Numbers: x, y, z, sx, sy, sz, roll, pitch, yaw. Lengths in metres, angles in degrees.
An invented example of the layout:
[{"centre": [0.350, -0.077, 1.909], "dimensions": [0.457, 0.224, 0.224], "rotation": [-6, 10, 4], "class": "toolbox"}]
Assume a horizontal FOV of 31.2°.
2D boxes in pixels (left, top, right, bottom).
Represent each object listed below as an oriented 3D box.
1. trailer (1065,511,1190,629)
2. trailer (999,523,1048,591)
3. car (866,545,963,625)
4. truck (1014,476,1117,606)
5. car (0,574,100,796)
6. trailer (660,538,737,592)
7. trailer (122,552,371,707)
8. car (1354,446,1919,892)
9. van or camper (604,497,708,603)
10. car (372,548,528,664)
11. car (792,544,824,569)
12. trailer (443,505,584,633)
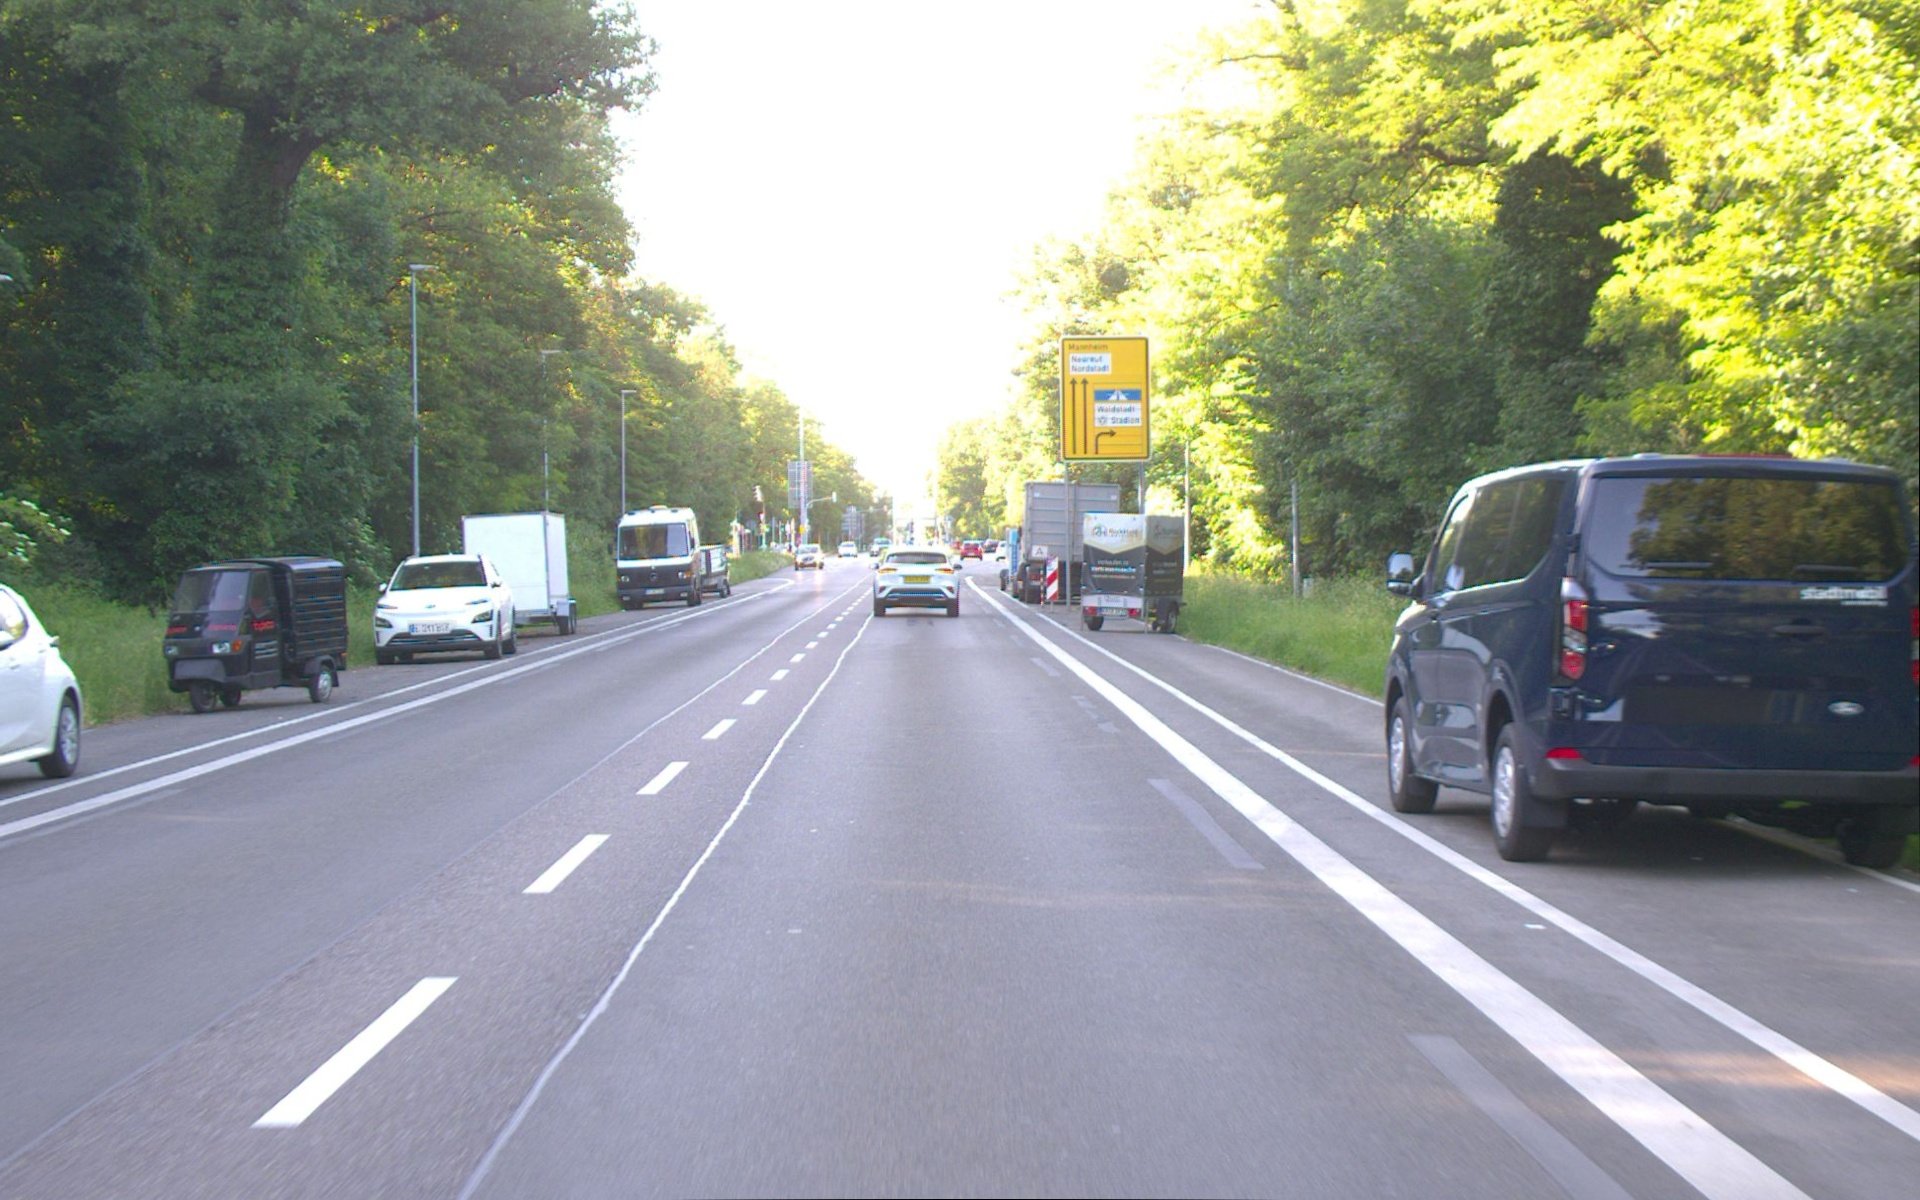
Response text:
[{"centre": [3.064, -0.558, 62.627], "dimensions": [1.616, 2.105, 2.394], "rotation": [1, 1, 20], "class": "trailer"}, {"centre": [2.126, -1.458, 115.919], "dimensions": [1.500, 2.228, 4.550], "rotation": [1, 1, 0], "class": "trailer"}, {"centre": [-0.973, -0.349, 73.643], "dimensions": [1.993, 1.634, 4.000], "rotation": [-1, 1, -1], "class": "car"}, {"centre": [2.776, -1.565, 92.450], "dimensions": [2.505, 3.355, 7.107], "rotation": [1, 1, 0], "class": "truck"}, {"centre": [-7.333, 0.617, 23.455], "dimensions": [1.867, 1.445, 4.071], "rotation": [-3, 1, 0], "class": "car"}, {"centre": [-8.266, -1.112, 108.906], "dimensions": [1.471, 1.654, 3.364], "rotation": [-2, 0, 12], "class": "trailer"}, {"centre": [-7.533, 0.283, 36.477], "dimensions": [1.397, 1.568, 2.672], "rotation": [0, 1, 20], "class": "trailer"}, {"centre": [3.486, 0.277, 18.363], "dimensions": [2.113, 2.007, 5.040], "rotation": [1, 1, 0], "class": "car"}, {"centre": [-8.400, -1.397, 95.526], "dimensions": [2.302, 2.758, 5.557], "rotation": [-3, 1, 0], "class": "van or camper"}, {"centre": [-7.567, 0.051, 51.317], "dimensions": [1.814, 1.566, 4.207], "rotation": [-3, 1, -3], "class": "car"}, {"centre": [-9.085, -2.609, 205.823], "dimensions": [1.678, 1.411, 4.000], "rotation": [-1, 1, 0], "class": "car"}, {"centre": [-8.361, -0.590, 64.683], "dimensions": [2.075, 2.285, 3.486], "rotation": [-1, 1, 1], "class": "trailer"}]
